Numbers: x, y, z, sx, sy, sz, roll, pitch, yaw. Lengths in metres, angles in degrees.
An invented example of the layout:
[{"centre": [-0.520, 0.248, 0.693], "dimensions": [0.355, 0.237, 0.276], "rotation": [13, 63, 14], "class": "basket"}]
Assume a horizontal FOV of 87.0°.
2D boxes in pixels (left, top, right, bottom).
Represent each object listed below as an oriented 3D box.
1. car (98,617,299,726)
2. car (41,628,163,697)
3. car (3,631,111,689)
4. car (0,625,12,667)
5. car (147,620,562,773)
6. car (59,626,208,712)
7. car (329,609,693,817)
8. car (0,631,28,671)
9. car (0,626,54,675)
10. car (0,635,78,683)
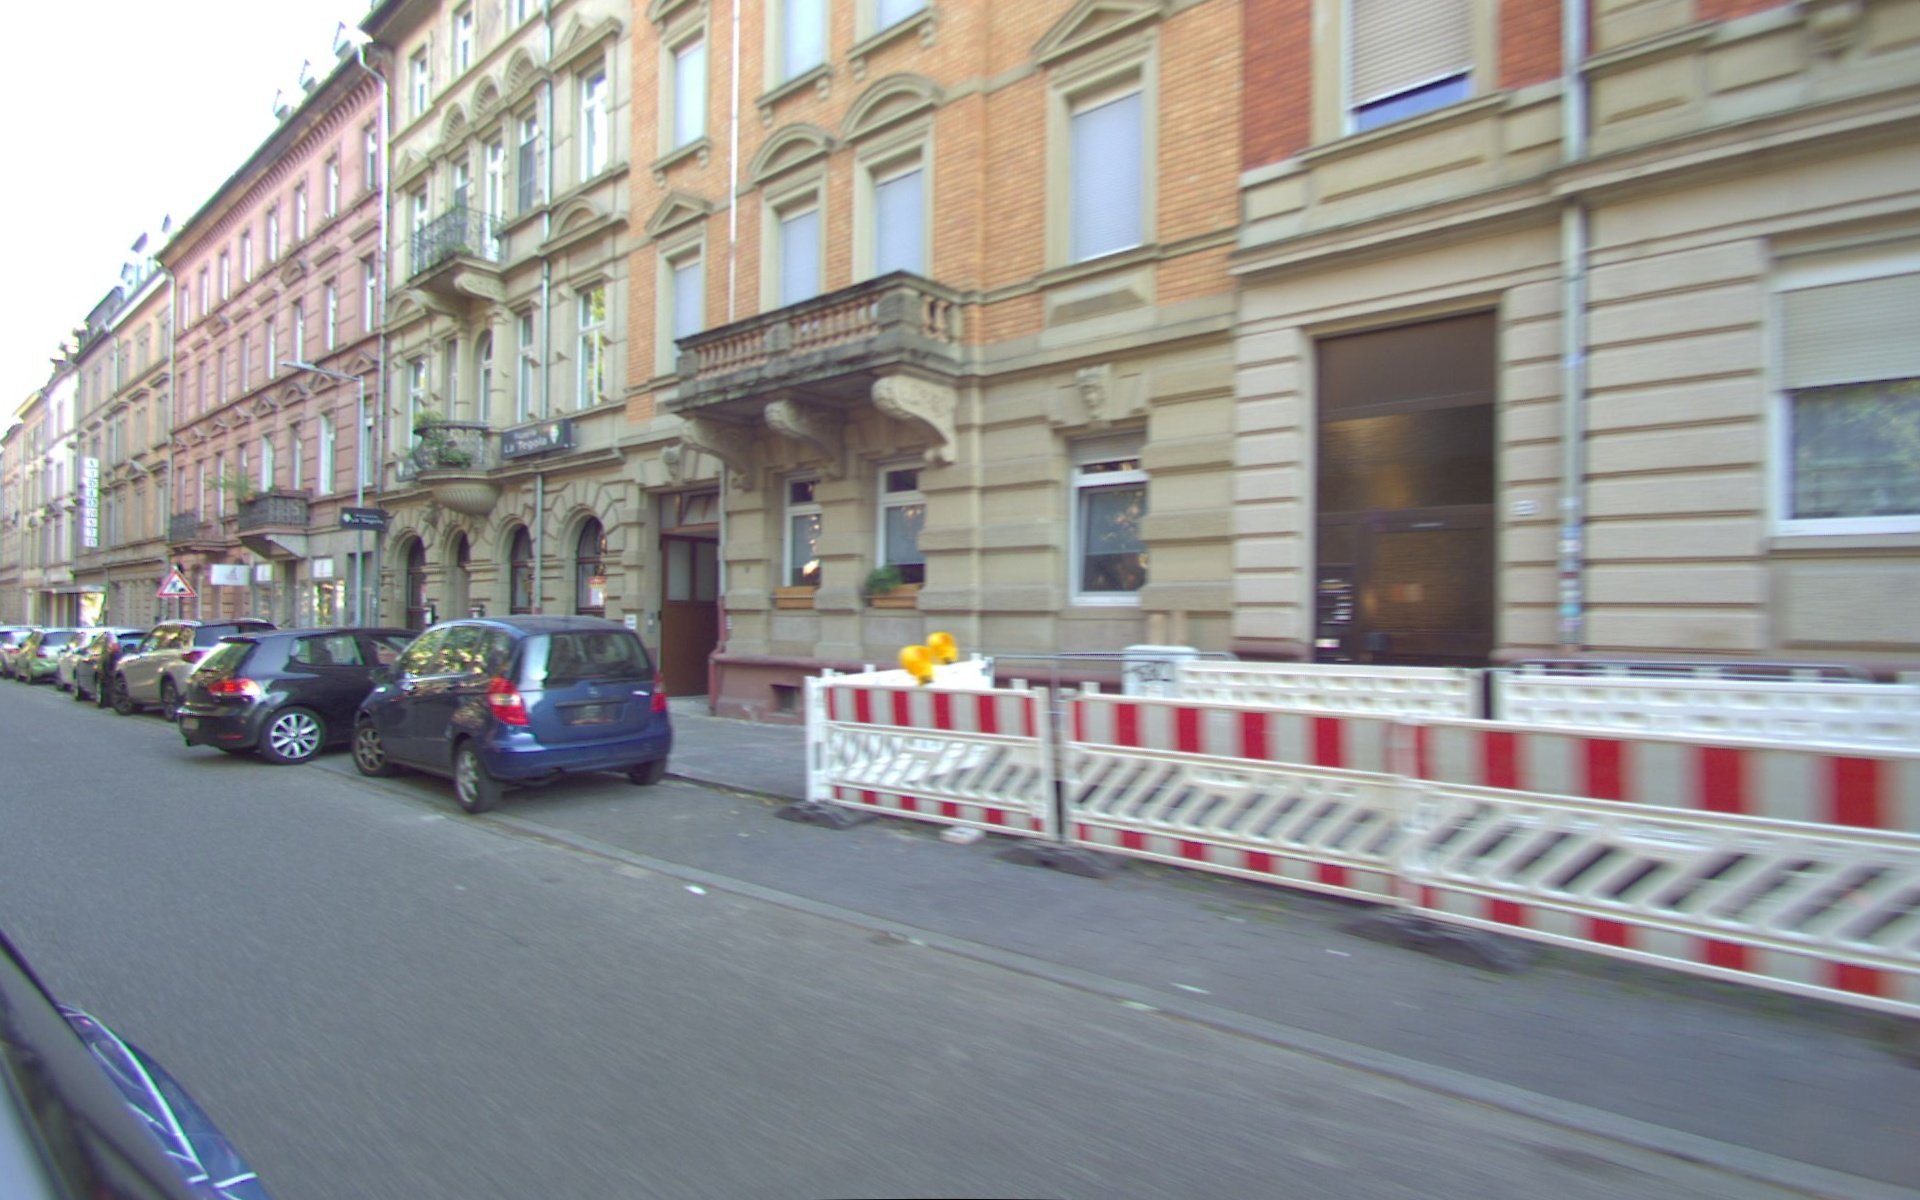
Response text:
[{"centre": [-12.918, 1.132, 17.089], "dimensions": [4.042, 1.586, 1.632], "rotation": [-2, 0, 37], "class": "car"}, {"centre": [-20.125, 1.402, 23.694], "dimensions": [3.998, 1.484, 1.565], "rotation": [-2, -3, 41], "class": "car"}, {"centre": [-24.324, 1.559, 27.212], "dimensions": [3.957, 1.450, 1.687], "rotation": [-2, -3, 41], "class": "car"}, {"centre": [-39.745, 1.858, 40.795], "dimensions": [4.311, 1.612, 1.802], "rotation": [-2, -1, 41], "class": "car"}, {"centre": [-7.178, 1.046, 12.376], "dimensions": [1.822, 1.541, 3.952], "rotation": [-1, -2, 35], "class": "car"}, {"centre": [-16.608, 1.303, 20.275], "dimensions": [3.998, 1.484, 1.631], "rotation": [-2, 0, 41], "class": "car"}, {"centre": [-4.400, 0.917, 9.662], "dimensions": [3.893, 1.579, 1.723], "rotation": [-2, -2, 42], "class": "car"}, {"centre": [-36.397, 1.908, 37.849], "dimensions": [4.311, 1.436, 1.802], "rotation": [-2, -1, 41], "class": "car"}, {"centre": [-31.526, 1.650, 33.485], "dimensions": [4.421, 1.488, 1.802], "rotation": [-2, -1, 41], "class": "car"}, {"centre": [-27.860, 1.719, 30.269], "dimensions": [4.099, 1.333, 1.687], "rotation": [-2, -3, 41], "class": "car"}]
